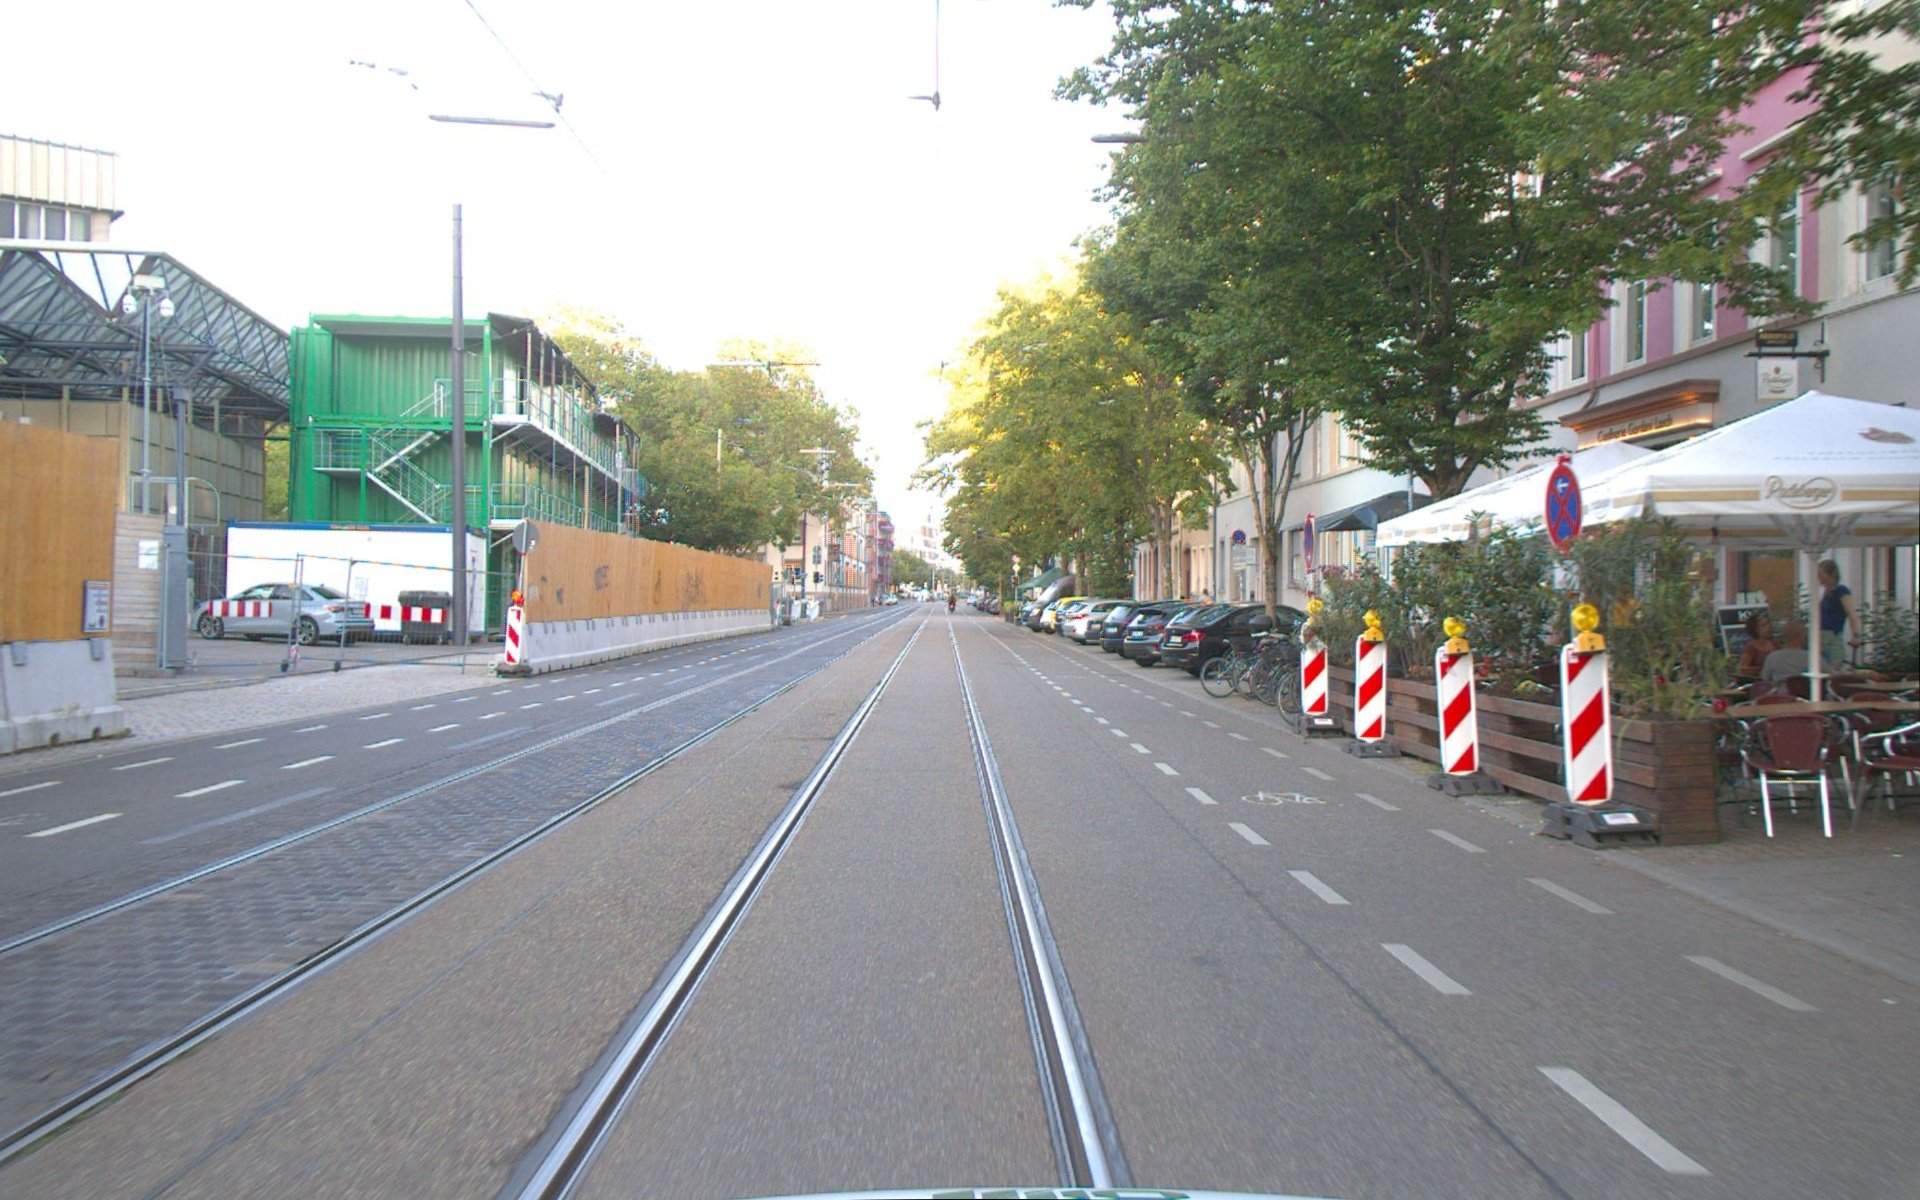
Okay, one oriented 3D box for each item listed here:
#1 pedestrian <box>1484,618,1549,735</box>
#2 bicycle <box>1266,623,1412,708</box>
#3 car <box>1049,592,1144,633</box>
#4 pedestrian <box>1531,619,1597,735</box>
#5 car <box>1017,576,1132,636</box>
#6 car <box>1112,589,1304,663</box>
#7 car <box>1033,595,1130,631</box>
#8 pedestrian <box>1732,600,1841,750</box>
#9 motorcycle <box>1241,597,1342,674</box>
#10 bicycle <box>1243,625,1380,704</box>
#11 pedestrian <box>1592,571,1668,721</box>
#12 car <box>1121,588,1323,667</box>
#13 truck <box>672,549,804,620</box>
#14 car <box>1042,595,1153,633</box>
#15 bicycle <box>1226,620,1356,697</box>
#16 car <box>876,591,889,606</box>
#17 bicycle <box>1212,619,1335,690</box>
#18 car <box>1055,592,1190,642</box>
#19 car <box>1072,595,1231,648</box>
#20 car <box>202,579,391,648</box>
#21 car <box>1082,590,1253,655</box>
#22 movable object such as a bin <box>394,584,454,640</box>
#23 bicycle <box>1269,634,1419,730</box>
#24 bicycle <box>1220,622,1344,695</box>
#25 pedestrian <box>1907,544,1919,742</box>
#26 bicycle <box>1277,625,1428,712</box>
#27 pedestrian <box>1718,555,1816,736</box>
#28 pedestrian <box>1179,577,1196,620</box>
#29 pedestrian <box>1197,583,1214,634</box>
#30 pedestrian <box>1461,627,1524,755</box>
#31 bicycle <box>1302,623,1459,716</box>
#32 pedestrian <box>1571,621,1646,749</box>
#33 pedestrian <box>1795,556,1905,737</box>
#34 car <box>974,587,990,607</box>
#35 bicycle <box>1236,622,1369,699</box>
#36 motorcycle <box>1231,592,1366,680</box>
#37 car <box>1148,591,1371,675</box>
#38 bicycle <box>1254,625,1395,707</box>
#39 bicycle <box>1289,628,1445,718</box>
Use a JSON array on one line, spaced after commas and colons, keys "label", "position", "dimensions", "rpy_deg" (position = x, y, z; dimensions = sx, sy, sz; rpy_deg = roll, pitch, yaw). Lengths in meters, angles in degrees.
[{"label": "pedestrian", "position": [6.432, 0.871, 19.122], "dimensions": [0.492, 1.315, 0.599], "rpy_deg": [1, 0, -5]}, {"label": "bicycle", "position": [5.256, 0.900, 22.987], "dimensions": [1.849, 1.049, 0.608], "rpy_deg": [-3, 0, -3]}, {"label": "car", "position": [5.759, 0.523, 70.095], "dimensions": [3.869, 1.648, 1.921], "rpy_deg": [-1, 0, 0]}, {"label": "pedestrian", "position": [7.019, 0.891, 19.236], "dimensions": [0.492, 1.315, 0.599], "rpy_deg": [1, 0, -6]}, {"label": "car", "position": [5.417, 0.286, 78.435], "dimensions": [5.015, 2.689, 2.012], "rpy_deg": [-2, 0, -18]}, {"label": "car", "position": [5.824, 0.594, 38.904], "dimensions": [4.055, 1.496, 1.813], "rpy_deg": [-3, 1, -20]}, {"label": "car", "position": [5.421, 0.571, 73.765], "dimensions": [3.900, 1.512, 1.906], "rpy_deg": [-1, -1, -25]}, {"label": "pedestrian", "position": [7.622, 0.676, 15.264], "dimensions": [0.544, 1.329, 0.709], "rpy_deg": [1, 0, -28]}, {"label": "motorcycle", "position": [6.198, 0.656, 30.929], "dimensions": [1.750, 1.367, 0.533], "rpy_deg": [-2, 0, -3]}, {"label": "bicycle", "position": [5.188, 0.941, 24.434], "dimensions": [1.849, 1.049, 0.608], "rpy_deg": [-3, 0, -3]}, {"label": "pedestrian", "position": [8.251, 0.553, 20.388], "dimensions": [0.539, 1.794, 0.894], "rpy_deg": [1, 0, -1]}, {"label": "car", "position": [5.734, 0.580, 36.342], "dimensions": [3.887, 1.496, 1.992], "rpy_deg": [-3, 1, -17]}, {"label": "truck", "position": [-12.208, -0.860, 91.468], "dimensions": [6.918, 3.541, 2.539], "rpy_deg": [3, 0, -4]}, {"label": "car", "position": [5.550, 0.562, 66.637], "dimensions": [4.071, 1.450, 1.905], "rpy_deg": [-1, -1, -26]}, {"label": "bicycle", "position": [5.155, 0.904, 25.806], "dimensions": [1.849, 1.086, 0.674], "rpy_deg": [-3, 0, -3]}, {"label": "car", "position": [-11.756, -0.191, 250.608], "dimensions": [1.859, 2.216, 3.999], "rpy_deg": [1, 0, -1]}, {"label": "bicycle", "position": [5.135, 0.892, 27.125], "dimensions": [1.865, 1.049, 0.533], "rpy_deg": [-3, 0, -3]}, {"label": "car", "position": [5.532, 0.559, 56.512], "dimensions": [4.175, 1.576, 2.014], "rpy_deg": [-1, 0, -12]}, {"label": "car", "position": [5.595, 0.604, 48.383], "dimensions": [4.195, 1.416, 2.000], "rpy_deg": [-1, 0, -24]}, {"label": "car", "position": [-15.956, 0.306, 39.838], "dimensions": [3.910, 1.427, 1.737], "rpy_deg": [3, 1, 14]}, {"label": "car", "position": [5.511, 0.572, 43.991], "dimensions": [4.064, 1.496, 1.999], "rpy_deg": [-3, 1, -25]}, {"label": "movable object such as a bin", "position": [-13.586, 0.291, 41.951], "dimensions": [1.280, 1.393, 0.783], "rpy_deg": [1, 0, -4]}, {"label": "bicycle", "position": [4.635, 0.979, 20.023], "dimensions": [1.645, 1.049, 0.556], "rpy_deg": [-3, 0, -3]}, {"label": "bicycle", "position": [5.149, 0.924, 26.495], "dimensions": [1.826, 1.049, 0.591], "rpy_deg": [-3, 0, -3]}, {"label": "pedestrian", "position": [9.102, 0.395, 14.899], "dimensions": [0.693, 1.794, 0.709], "rpy_deg": [1, 0, -26]}, {"label": "bicycle", "position": [5.289, 0.914, 22.344], "dimensions": [1.849, 1.049, 0.608], "rpy_deg": [-3, 0, -3]}, {"label": "pedestrian", "position": [8.198, 0.455, 16.816], "dimensions": [0.542, 1.794, 0.712], "rpy_deg": [1, 0, -18]}, {"label": "pedestrian", "position": [8.396, -0.062, 61.108], "dimensions": [0.527, 1.595, 0.813], "rpy_deg": [0, 0, 2]}, {"label": "pedestrian", "position": [9.043, 0.310, 60.900], "dimensions": [0.554, 1.846, 0.607], "rpy_deg": [0, 0, 1]}, {"label": "pedestrian", "position": [5.641, 0.955, 17.543], "dimensions": [0.491, 1.315, 0.600], "rpy_deg": [1, 0, 4]}, {"label": "bicycle", "position": [5.295, 0.870, 20.872], "dimensions": [1.779, 1.049, 0.608], "rpy_deg": [-3, 0, -3]}, {"label": "pedestrian", "position": [6.858, 0.886, 17.512], "dimensions": [0.586, 1.315, 0.504], "rpy_deg": [1, 0, 1]}, {"label": "pedestrian", "position": [9.045, 0.463, 16.825], "dimensions": [0.541, 1.794, 0.849], "rpy_deg": [1, 0, -14]}, {"label": "car", "position": [2.361, -0.297, 178.153], "dimensions": [1.686, 2.049, 3.999], "rpy_deg": [1, 0, -1]}, {"label": "bicycle", "position": [5.199, 0.915, 25.132], "dimensions": [1.849, 1.049, 0.608], "rpy_deg": [-3, 0, -3]}, {"label": "motorcycle", "position": [6.050, 0.625, 29.666], "dimensions": [2.177, 1.487, 0.967], "rpy_deg": [-2, 0, -3]}, {"label": "car", "position": [6.095, 0.635, 33.694], "dimensions": [4.100, 1.451, 1.813], "rpy_deg": [-3, 1, -20]}, {"label": "bicycle", "position": [5.211, 0.941, 23.684], "dimensions": [1.849, 1.049, 0.608], "rpy_deg": [-3, 0, -3]}, {"label": "bicycle", "position": [5.312, 0.949, 21.628], "dimensions": [1.849, 1.049, 0.608], "rpy_deg": [-3, 0, -3]}]
